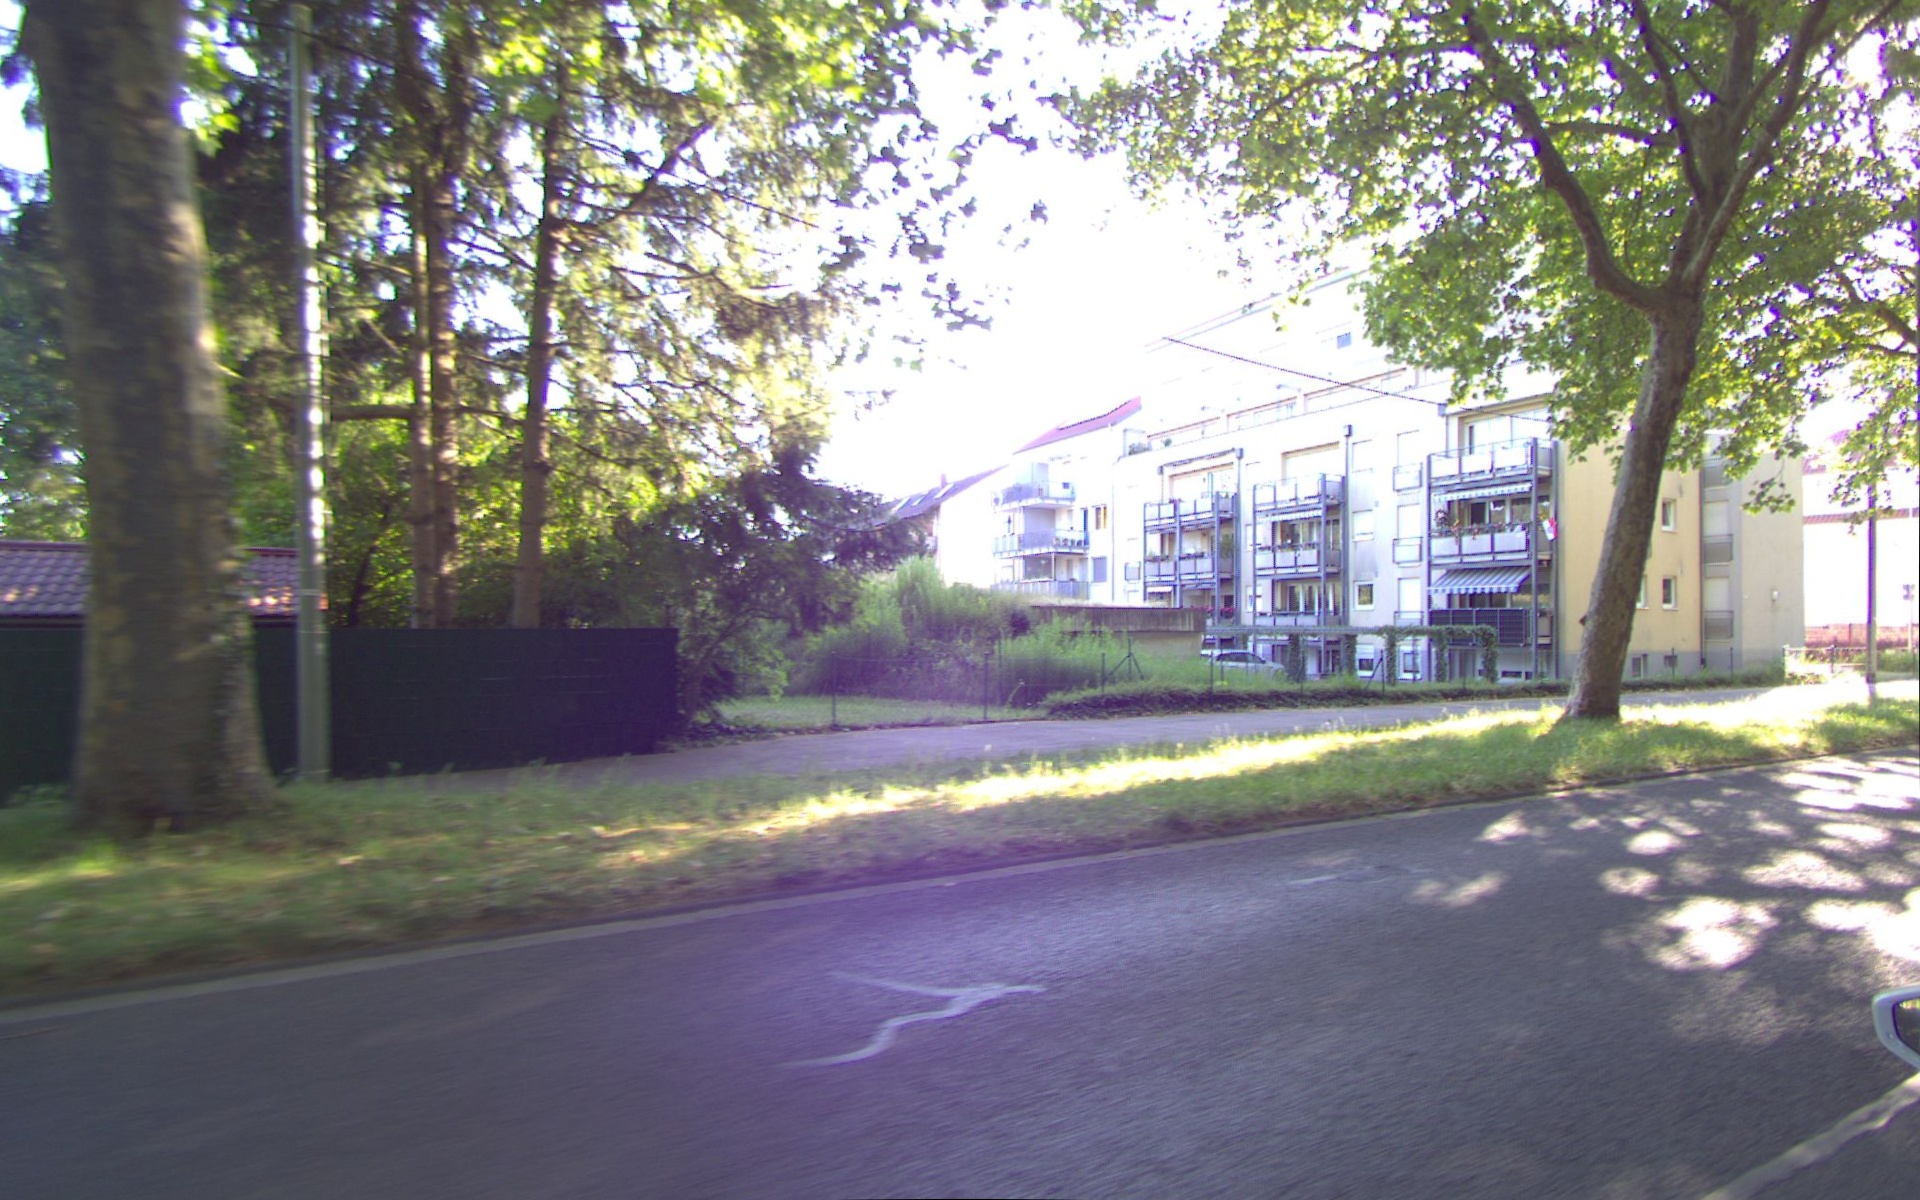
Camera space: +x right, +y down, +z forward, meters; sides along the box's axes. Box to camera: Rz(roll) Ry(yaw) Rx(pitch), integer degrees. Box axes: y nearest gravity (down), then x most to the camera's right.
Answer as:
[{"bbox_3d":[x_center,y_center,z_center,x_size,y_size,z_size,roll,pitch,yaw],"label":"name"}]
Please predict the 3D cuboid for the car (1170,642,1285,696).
[{"bbox_3d":[9.901,2.494,37.143,3.957,1.737,1.982,1,0,-33],"label":"car"}]
